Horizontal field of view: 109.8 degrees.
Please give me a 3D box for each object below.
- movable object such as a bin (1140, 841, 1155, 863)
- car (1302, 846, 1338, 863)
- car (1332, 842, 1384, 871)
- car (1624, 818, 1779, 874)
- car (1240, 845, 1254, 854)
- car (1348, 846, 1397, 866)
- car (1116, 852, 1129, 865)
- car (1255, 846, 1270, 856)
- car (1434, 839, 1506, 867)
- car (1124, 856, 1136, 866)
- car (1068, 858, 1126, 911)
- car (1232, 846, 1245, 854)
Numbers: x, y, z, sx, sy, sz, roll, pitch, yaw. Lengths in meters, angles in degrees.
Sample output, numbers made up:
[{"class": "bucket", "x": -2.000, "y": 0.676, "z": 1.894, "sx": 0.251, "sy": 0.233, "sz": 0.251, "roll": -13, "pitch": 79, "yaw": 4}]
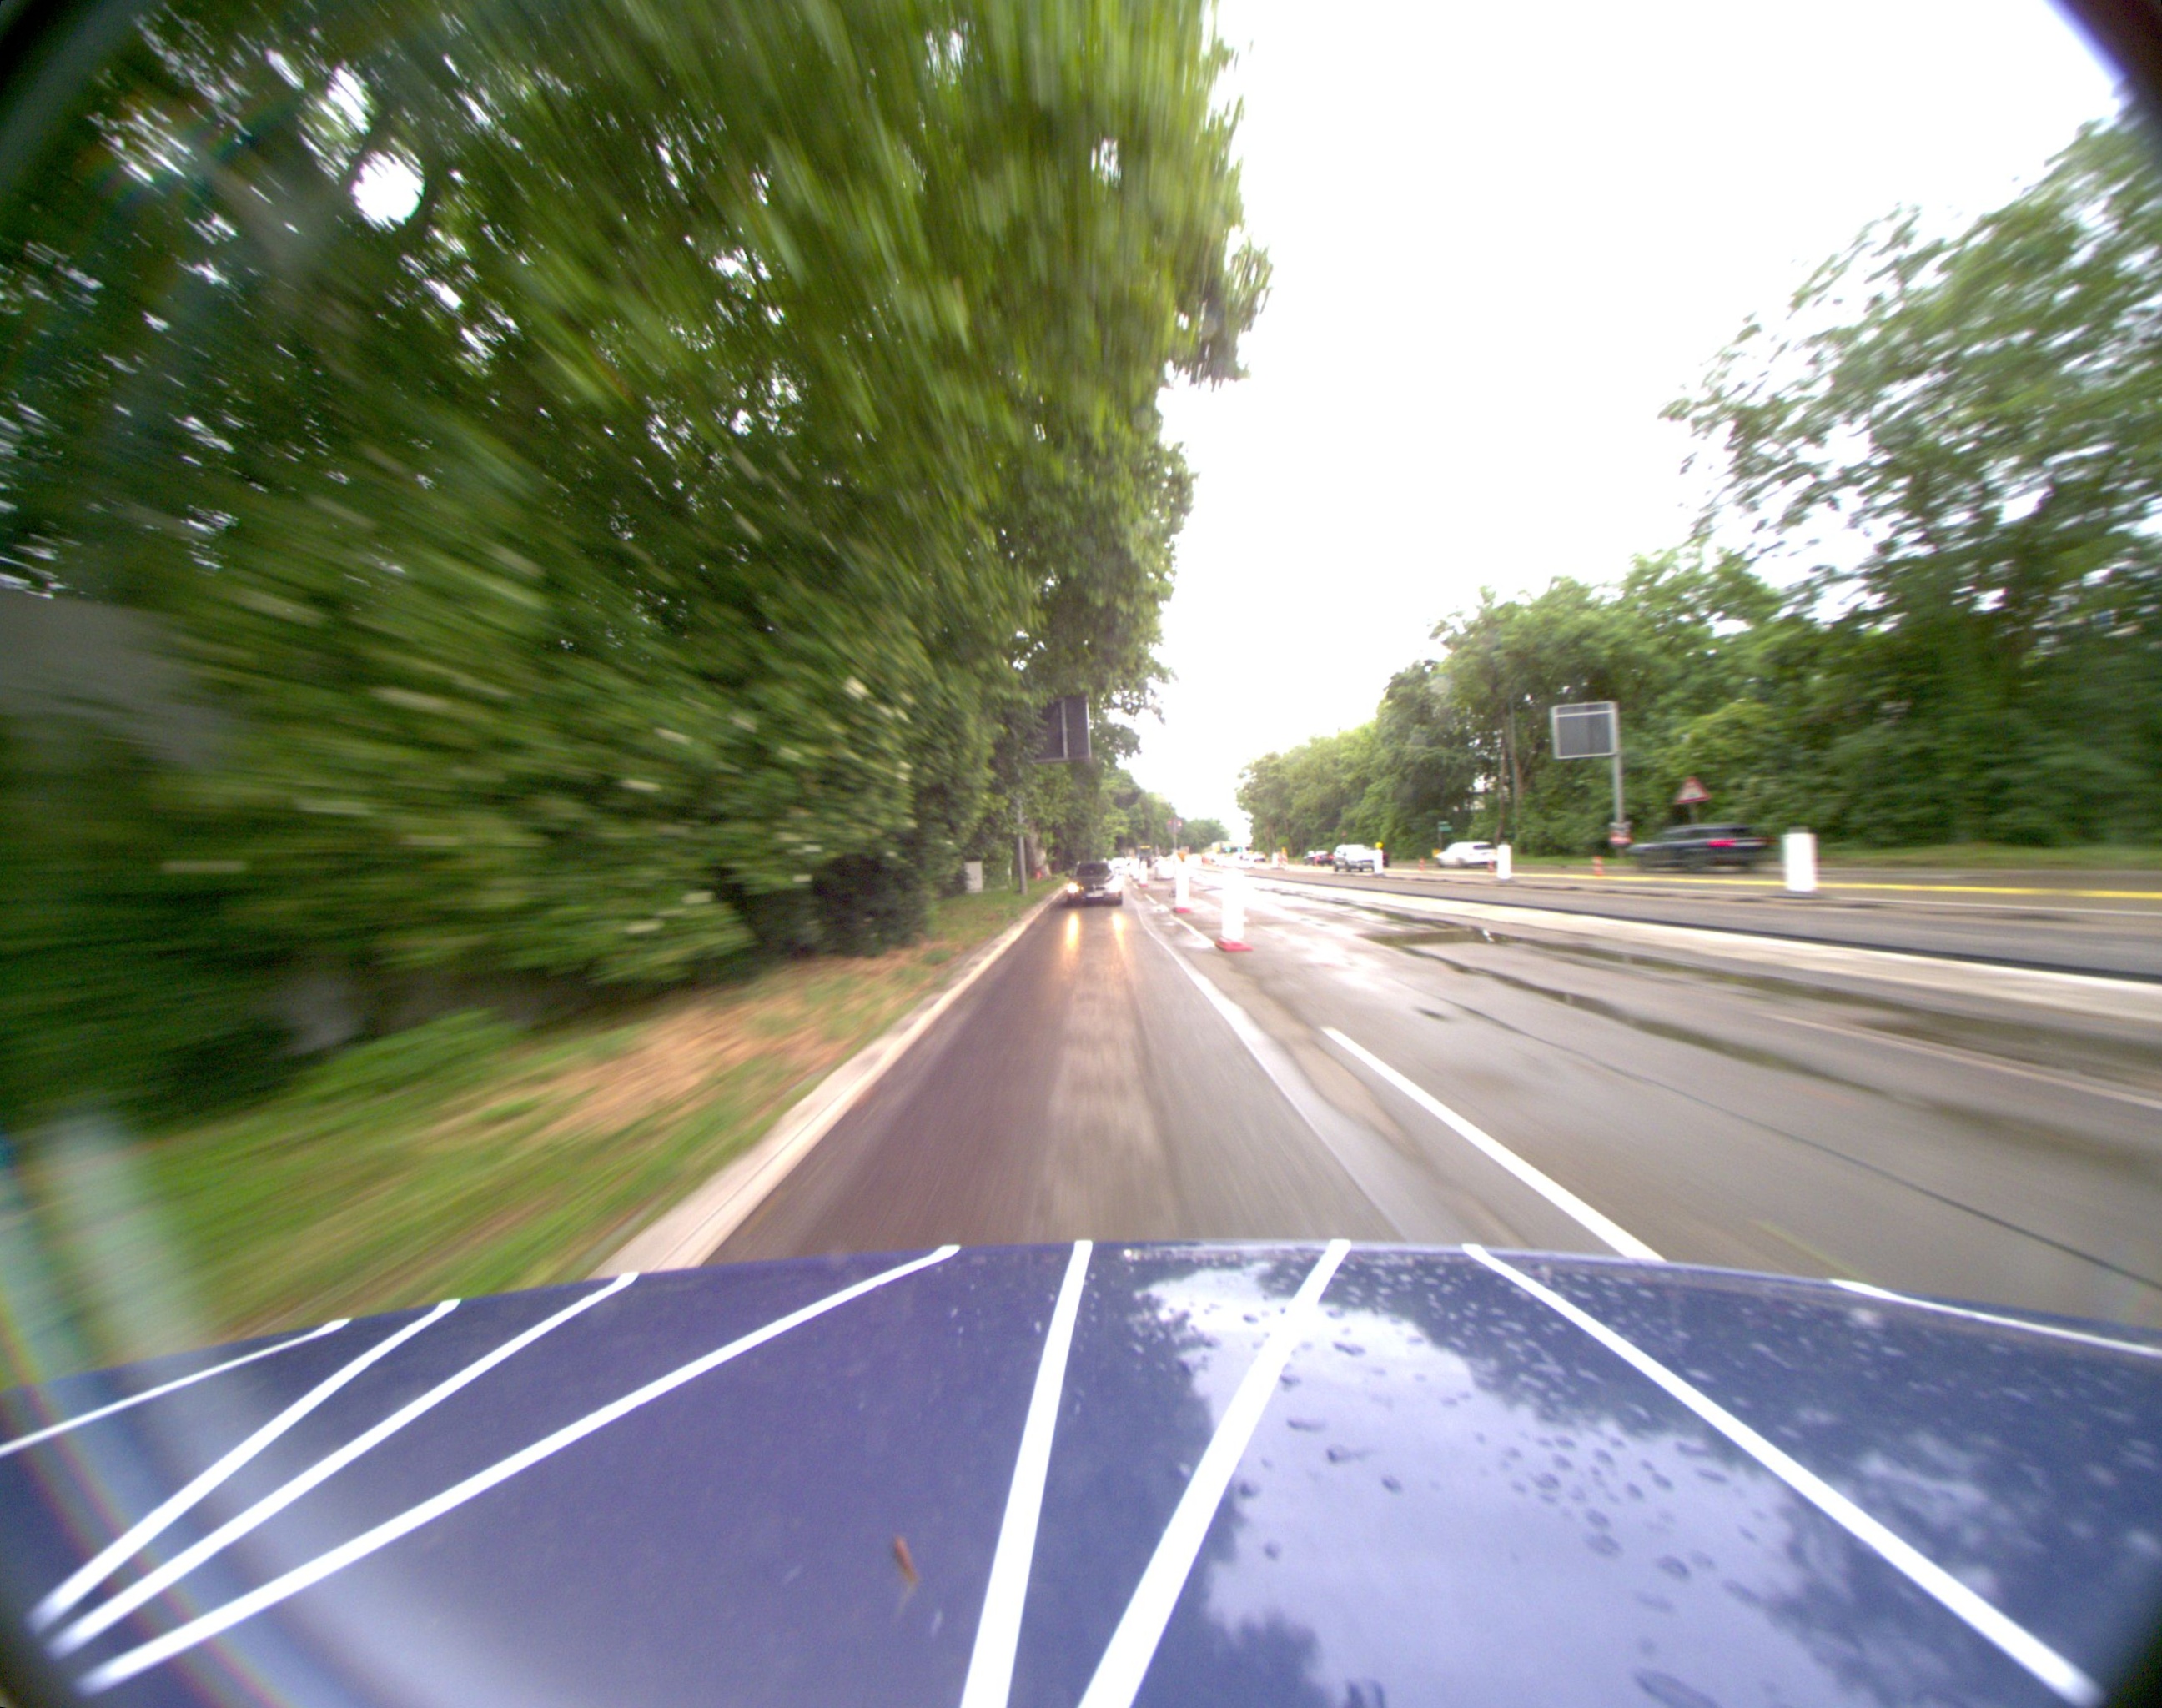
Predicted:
[{"class": "movable object such as a bin", "x": 9.133, "y": -0.272, "z": 103.946, "sx": 1.807, "sy": 2.968, "sz": 5.247, "roll": -2, "pitch": 0, "yaw": 6}, {"class": "car", "x": 20.963, "y": 0.050, "z": 66.681, "sx": 1.822, "sy": 1.347, "sz": 4.390, "roll": -1, "pitch": 0, "yaw": 1}, {"class": "car", "x": 16.663, "y": 0.165, "z": 45.856, "sx": 1.793, "sy": 1.574, "sz": 3.861, "roll": -3, "pitch": 0, "yaw": 2}, {"class": "car", "x": 21.405, "y": -0.242, "z": 26.487, "sx": 1.657, "sy": 1.675, "sz": 4.533, "roll": -3, "pitch": 0, "yaw": 1}, {"class": "car", "x": 32.401, "y": -0.890, "z": 148.390, "sx": 1.781, "sy": 1.741, "sz": 4.381, "roll": -2, "pitch": 0, "yaw": 2}, {"class": "car", "x": 20.318, "y": 0.130, "z": 53.086, "sx": 1.822, "sy": 1.347, "sz": 4.205, "roll": -1, "pitch": 0, "yaw": 1}, {"class": "car", "x": 5.857, "y": 0.619, "z": 107.081, "sx": 1.707, "sy": 1.681, "sz": 4.473, "roll": -1, "pitch": 1, "yaw": 5}, {"class": "car", "x": 29.087, "y": -0.464, "z": 121.745, "sx": 1.670, "sy": 1.532, "sz": 4.158, "roll": 0, "pitch": 0, "yaw": 3}, {"class": "car", "x": 22.272, "y": -0.070, "z": 43.706, "sx": 1.822, "sy": 1.411, "sz": 4.603, "roll": -3, "pitch": 0, "yaw": 1}, {"class": "car", "x": 9.058, "y": 1.273, "z": 139.118, "sx": 1.706, "sy": 1.681, "sz": 4.474, "roll": -1, "pitch": 1, "yaw": 9}, {"class": "car", "x": 0.491, "y": 0.909, "z": 24.613, "sx": 1.701, "sy": 1.477, "sz": 3.999, "roll": -2, "pitch": 1, "yaw": 0}, {"class": "car", "x": 33.432, "y": -0.812, "z": 161.576, "sx": 1.781, "sy": 1.654, "sz": 4.916, "roll": -1, "pitch": 0, "yaw": 2}]
